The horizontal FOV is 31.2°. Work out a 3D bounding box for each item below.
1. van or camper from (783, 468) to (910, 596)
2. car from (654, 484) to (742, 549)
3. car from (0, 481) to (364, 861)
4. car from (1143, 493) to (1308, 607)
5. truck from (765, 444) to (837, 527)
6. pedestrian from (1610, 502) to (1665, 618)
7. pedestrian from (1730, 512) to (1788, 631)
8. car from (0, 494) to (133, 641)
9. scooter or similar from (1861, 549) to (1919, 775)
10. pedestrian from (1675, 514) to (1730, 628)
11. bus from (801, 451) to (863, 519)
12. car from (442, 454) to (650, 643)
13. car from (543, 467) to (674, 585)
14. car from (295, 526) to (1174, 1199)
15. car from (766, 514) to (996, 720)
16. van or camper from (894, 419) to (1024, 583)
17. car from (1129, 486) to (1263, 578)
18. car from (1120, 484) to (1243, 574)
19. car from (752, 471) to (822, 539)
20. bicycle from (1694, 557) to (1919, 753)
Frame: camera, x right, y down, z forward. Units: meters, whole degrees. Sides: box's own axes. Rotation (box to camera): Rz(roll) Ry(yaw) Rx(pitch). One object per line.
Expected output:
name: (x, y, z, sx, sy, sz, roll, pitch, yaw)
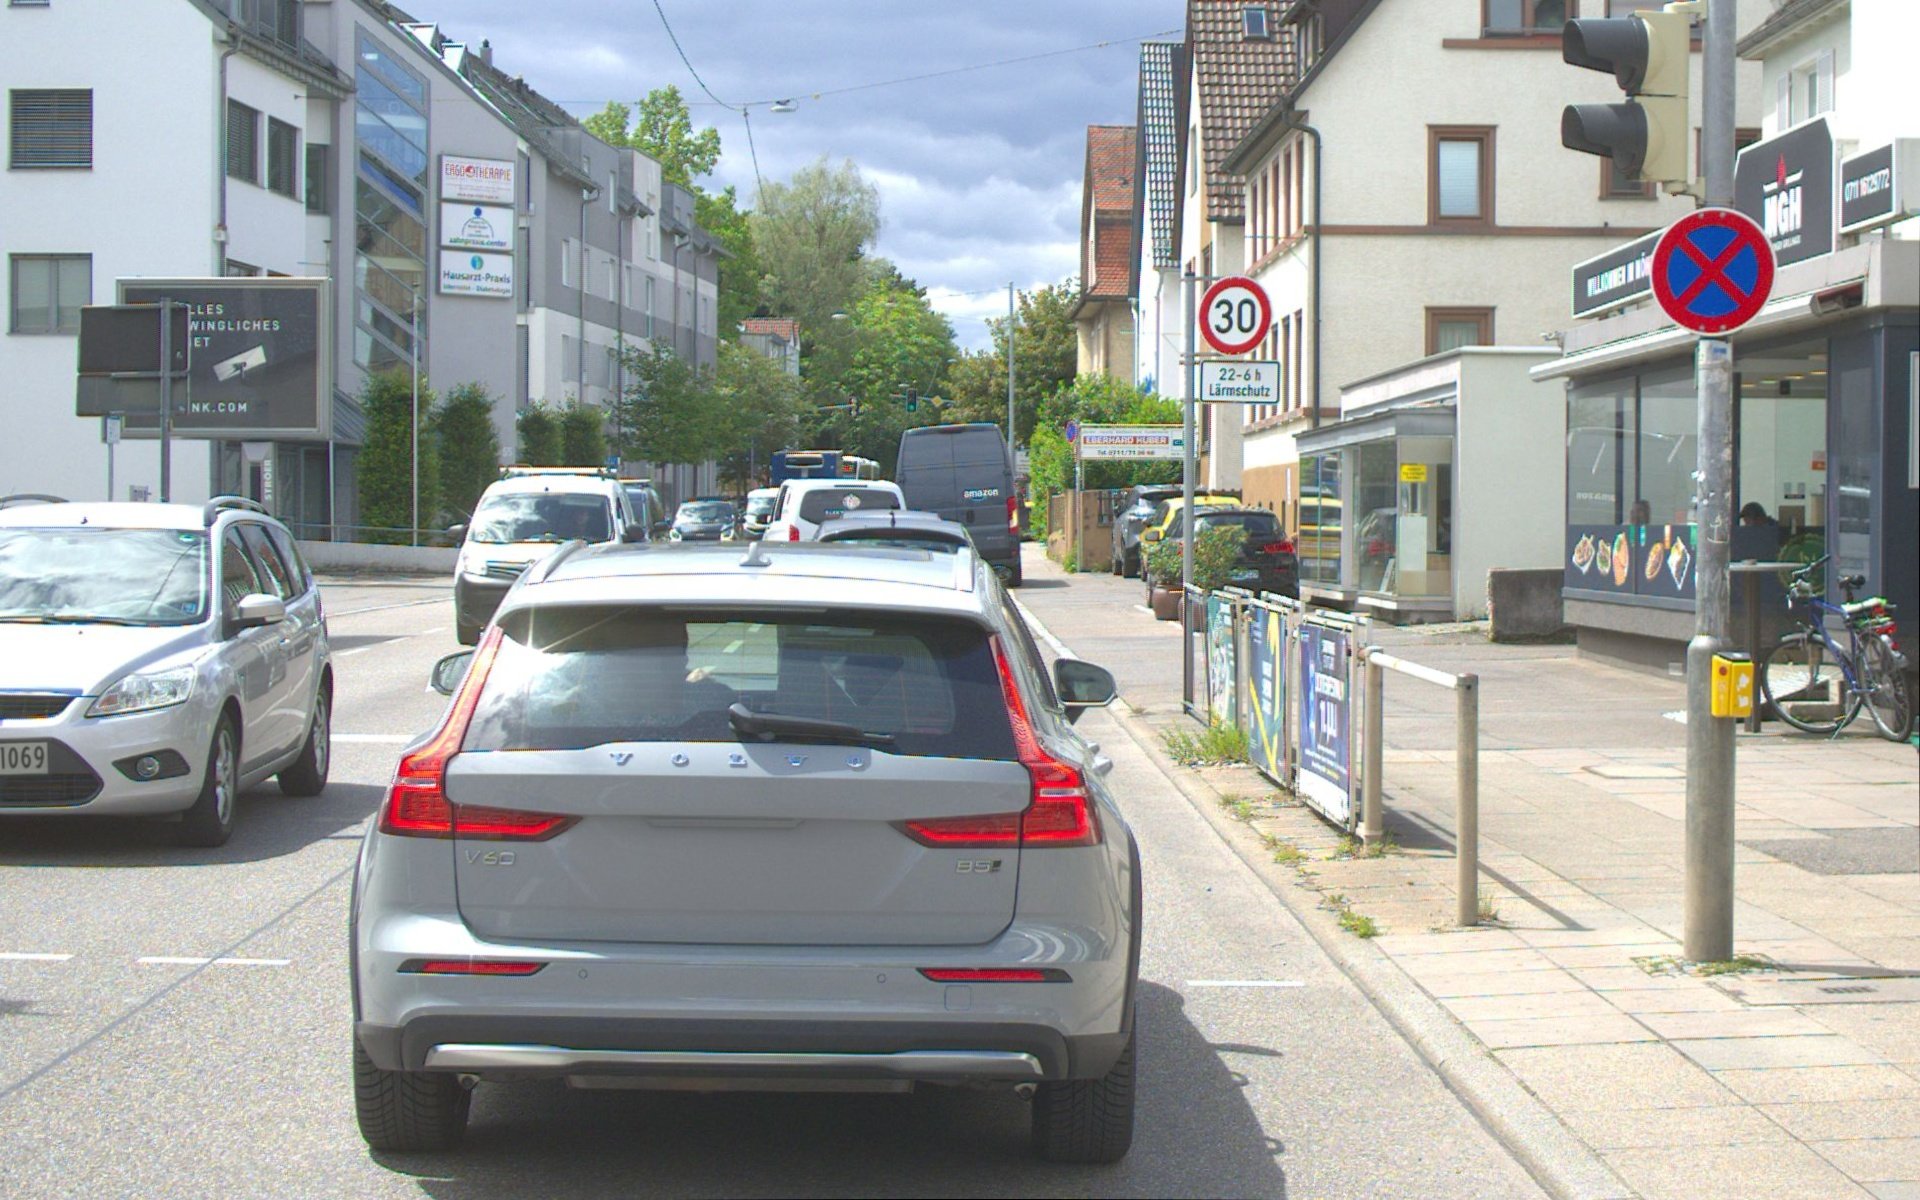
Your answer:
van or camper: (-1.700, -0.988, 51.999, 1.819, 1.828, 4.000, 1, 0, -1)
car: (-5.914, -1.915, 77.899, 1.762, 1.421, 4.001, 0, 2, -1)
car: (-4.007, 0.220, 16.183, 1.668, 1.548, 4.215, 1, 2, 0)
car: (3.584, -0.671, 47.034, 1.710, 1.459, 4.000, 1, 0, -3)
truck: (-5.664, -4.114, 123.648, 2.276, 2.876, 7.080, 0, 2, 0)
pedestrian: (6.172, -0.368, 31.346, 0.414, 1.048, 0.368, 0, 2, -2)
pedestrian: (7.102, -0.257, 30.551, 0.414, 1.048, 0.368, 0, 2, -2)
car: (-9.955, -0.372, 35.555, 1.755, 1.421, 3.862, 0, 2, 2)
scooter or similar: (5.555, 0.342, 18.991, 0.340, 1.249, 1.246, -3, 1, -27)
pedestrian: (6.890, -0.274, 31.921, 0.414, 1.048, 0.368, 0, 2, -2)
bus: (-5.172, -4.689, 139.982, 2.276, 2.659, 7.430, 0, 2, 0)
car: (-4.460, -0.578, 37.553, 1.838, 1.911, 4.156, 1, 1, -1)
car: (-5.903, -1.255, 58.187, 1.838, 1.911, 4.532, -1, 1, -1)
car: (-0.529, 0.563, 9.241, 1.835, 1.481, 4.001, 1, 2, -2)
car: (-0.624, 0.083, 26.934, 1.650, 1.477, 3.608, 1, 1, -1)
van or camper: (-0.016, -1.708, 58.675, 2.123, 2.677, 4.782, 0, 2, 0)
car: (3.813, -1.077, 56.184, 1.883, 1.411, 3.971, 1, 0, 0)
car: (3.864, -1.226, 60.524, 1.883, 1.495, 3.971, 1, 0, 0)
car: (-4.913, -2.685, 98.027, 1.797, 1.809, 4.000, 1, 0, 0)
bicycle: (5.543, 0.321, 21.993, 0.554, 1.140, 2.301, -1, 2, -19)
